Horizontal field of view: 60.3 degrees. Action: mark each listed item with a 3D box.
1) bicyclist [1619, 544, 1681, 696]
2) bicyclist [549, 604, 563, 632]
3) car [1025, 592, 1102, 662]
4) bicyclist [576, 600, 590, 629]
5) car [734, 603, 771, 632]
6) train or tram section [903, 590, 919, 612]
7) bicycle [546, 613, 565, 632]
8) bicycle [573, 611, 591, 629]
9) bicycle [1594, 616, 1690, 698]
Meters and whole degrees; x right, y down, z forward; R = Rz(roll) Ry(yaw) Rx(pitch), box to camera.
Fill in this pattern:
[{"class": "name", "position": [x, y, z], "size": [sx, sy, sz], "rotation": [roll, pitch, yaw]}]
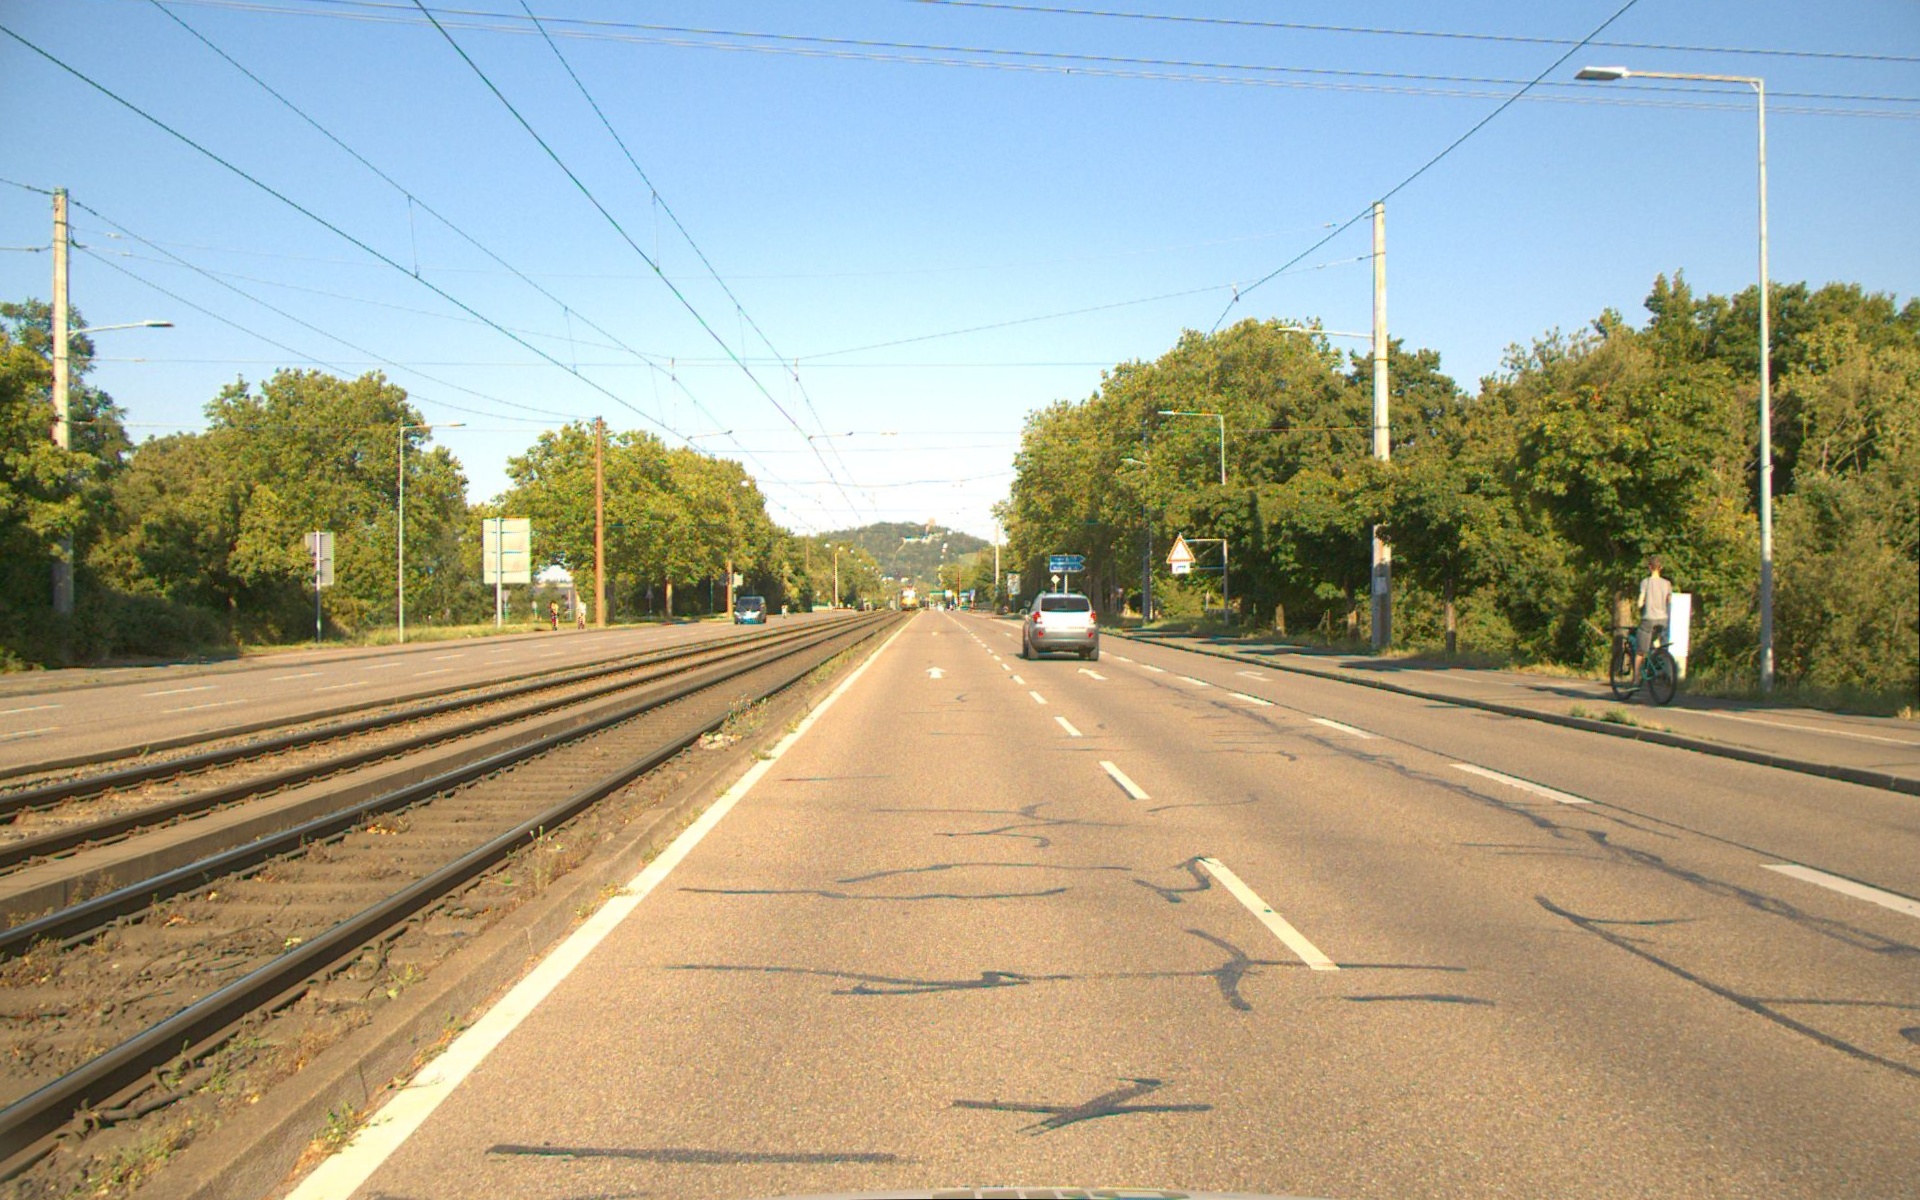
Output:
[{"class": "bicyclist", "position": [9.507, 0.278, 22.812], "size": [0.516, 2.052, 0.729], "rotation": [2, -1, 0]}, {"class": "bicyclist", "position": [-22.726, 0.996, 93.018], "size": [0.578, 1.555, 0.906], "rotation": [0, -1, -2]}, {"class": "car", "position": [2.673, 0.699, 43.438], "size": [1.849, 1.723, 4.257], "rotation": [0, -1, 1]}, {"class": "bicyclist", "position": [-21.605, 0.833, 94.823], "size": [0.578, 1.639, 0.967], "rotation": [0, -1, -2]}, {"class": "car", "position": [-14.732, 1.250, 117.781], "size": [1.952, 1.956, 4.860], "rotation": [-1, -1, 0]}, {"class": "train or tram section", "position": [-7.699, 0.228, 259.679], "size": [2.264, 3.273, 9.472], "rotation": [2, -1, -1]}, {"class": "bicycle", "position": [-22.722, 1.269, 92.939], "size": [0.578, 1.040, 2.185], "rotation": [-1, -1, -2]}, {"class": "bicycle", "position": [-21.602, 1.140, 94.661], "size": [0.578, 1.040, 2.185], "rotation": [-1, -1, -2]}, {"class": "bicycle", "position": [9.498, 0.775, 23.097], "size": [0.516, 1.079, 1.971], "rotation": [2, -1, 0]}]
